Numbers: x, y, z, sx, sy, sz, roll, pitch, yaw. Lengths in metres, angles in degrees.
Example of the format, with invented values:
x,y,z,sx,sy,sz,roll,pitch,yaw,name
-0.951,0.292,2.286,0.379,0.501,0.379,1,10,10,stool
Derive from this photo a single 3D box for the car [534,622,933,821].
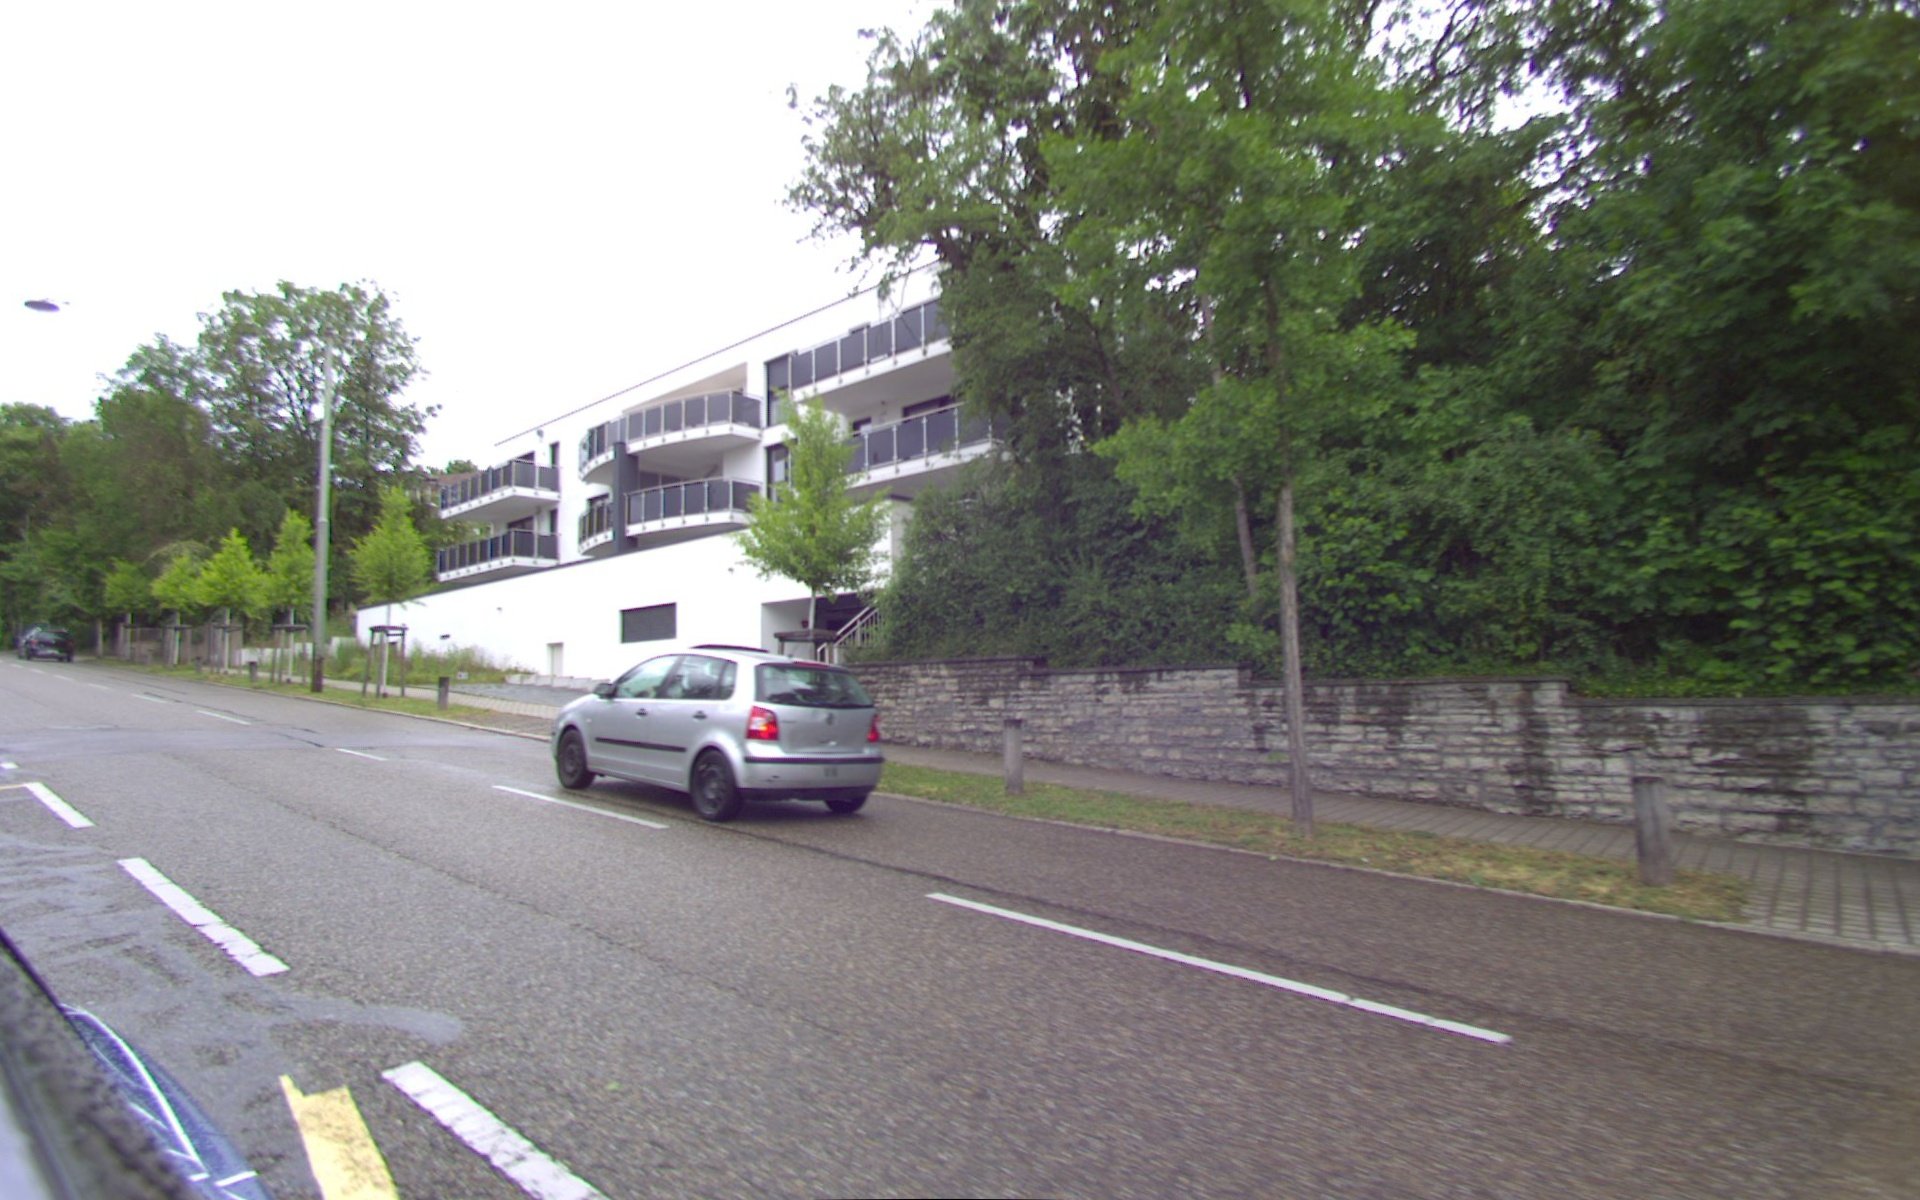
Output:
x,y,z,sx,sy,sz,roll,pitch,yaw,name
-2.259,1.062,9.604,3.800,1.497,1.746,-2,-7,42,car

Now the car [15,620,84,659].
x,y,z,sx,sy,sz,roll,pitch,yaw,name
-41.371,1.782,45.964,3.916,1.561,1.727,-1,-7,41,car
